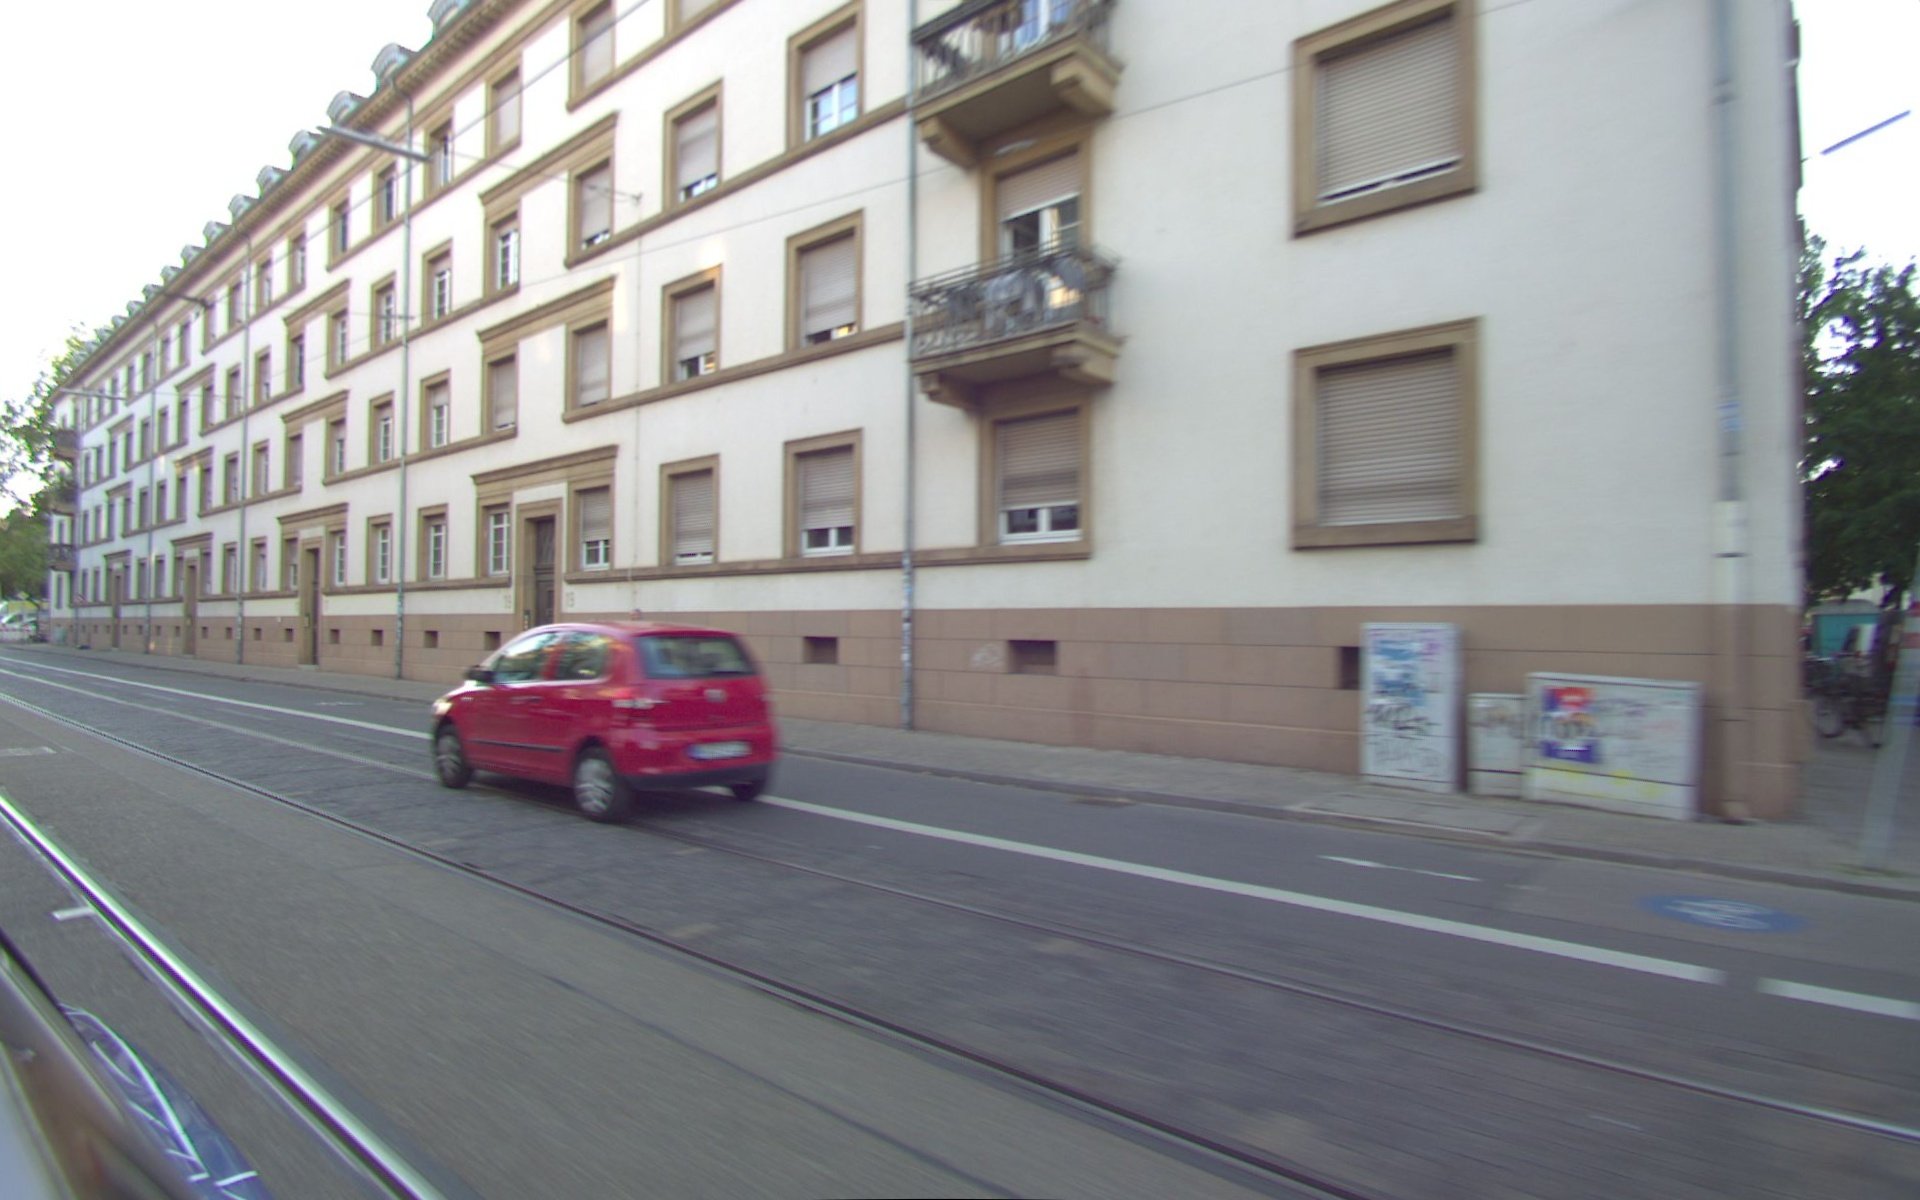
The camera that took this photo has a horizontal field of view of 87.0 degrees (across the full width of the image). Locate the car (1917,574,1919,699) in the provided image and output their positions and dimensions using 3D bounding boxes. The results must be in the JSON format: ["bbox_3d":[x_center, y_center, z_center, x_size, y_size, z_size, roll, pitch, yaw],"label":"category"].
[{"bbox_3d":[18.635,0.806,14.994,6.111,2.609,2.074,-1,-2,32],"label":"car"}]

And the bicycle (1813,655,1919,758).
[{"bbox_3d":[11.827,1.342,13.181,0.600,1.222,1.671,0,-2,23],"label":"bicycle"}]

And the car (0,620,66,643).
[{"bbox_3d":[-80.852,2.709,87.781,2.014,1.888,4.781,-2,-2,42],"label":"car"}]

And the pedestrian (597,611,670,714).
[{"bbox_3d":[-5.669,1.061,17.561,0.980,1.714,0.788,-1,-2,39],"label":"pedestrian"}]

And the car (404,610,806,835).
[{"bbox_3d":[-3.221,0.922,8.879,3.750,1.570,1.544,-1,-4,39],"label":"car"}]

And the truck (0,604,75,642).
[{"bbox_3d":[-88.931,2.175,96.070,2.562,3.455,6.992,-2,-2,37],"label":"truck"}]

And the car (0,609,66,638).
[{"bbox_3d":[-84.918,2.120,91.920,2.226,2.617,5.171,-2,-2,37],"label":"car"}]

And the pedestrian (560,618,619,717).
[{"bbox_3d":[-6.262,1.125,17.121,0.810,1.622,0.585,-1,-2,39],"label":"pedestrian"}]
